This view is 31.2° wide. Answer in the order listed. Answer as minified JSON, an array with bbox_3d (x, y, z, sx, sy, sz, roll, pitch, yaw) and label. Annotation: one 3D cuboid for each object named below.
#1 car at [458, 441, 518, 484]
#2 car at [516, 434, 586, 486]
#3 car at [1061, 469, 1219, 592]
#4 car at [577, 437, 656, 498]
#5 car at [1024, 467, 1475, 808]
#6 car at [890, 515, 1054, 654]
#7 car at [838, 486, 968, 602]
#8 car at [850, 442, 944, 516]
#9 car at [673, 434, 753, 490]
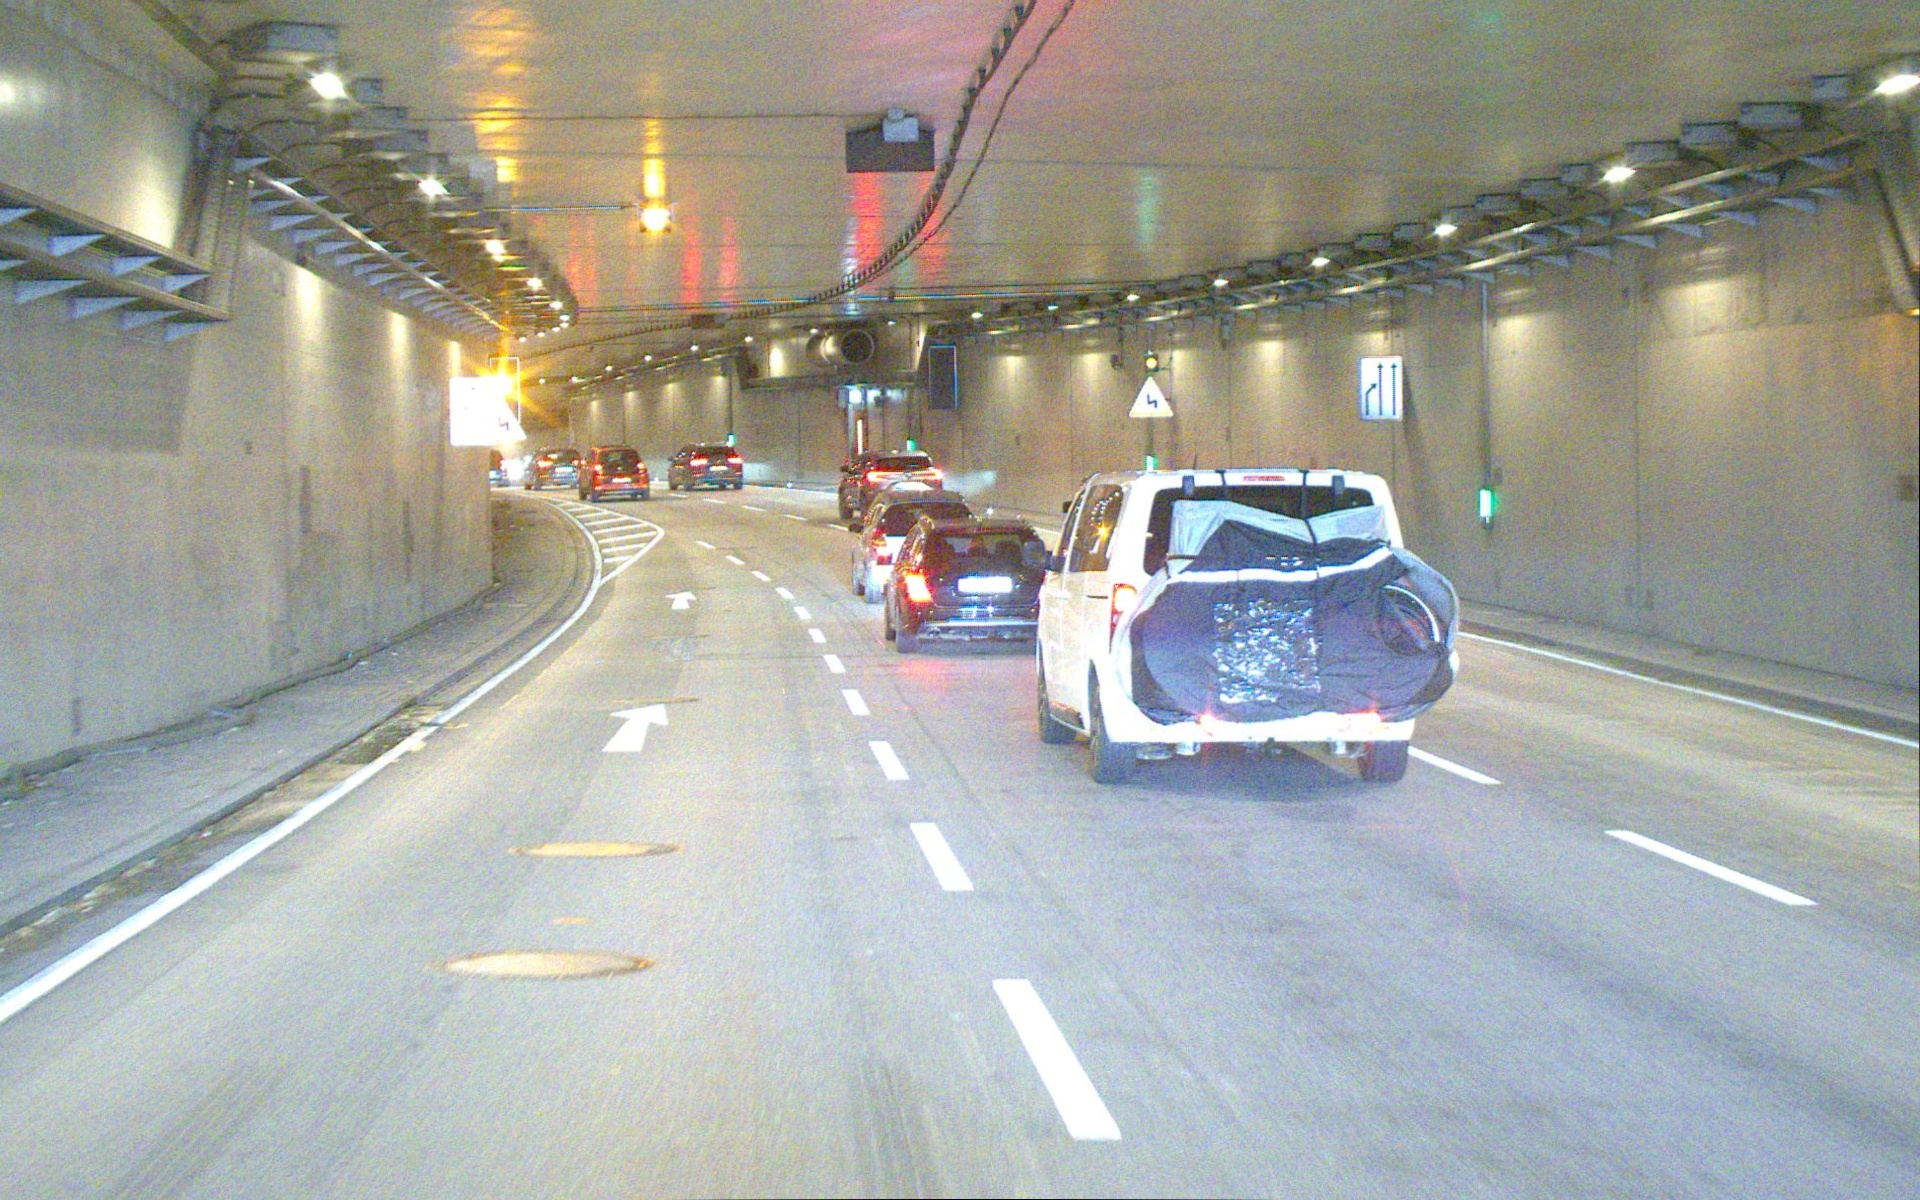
[{"bbox_3d":[-18.595,-5.410,135.334,1.822,1.624,3.845,0,1,-16],"label":"car"},{"bbox_3d":[-13.545,-4.632,113.831,1.822,1.624,3.845,0,1,-14],"label":"car"},{"bbox_3d":[2.647,-1.031,51.393,1.872,1.755,4.001,0,1,-4],"label":"car"},{"bbox_3d":[-9.712,-3.724,96.995,1.822,1.624,3.845,0,1,-11],"label":"car"},{"bbox_3d":[1.620,0.127,21.267,1.993,1.841,5.302,0,2,-4],"label":"car"},{"bbox_3d":[0.090,-0.197,36.598,1.602,1.390,3.278,0,2,-2],"label":"car"},{"bbox_3d":[-0.852,-0.828,49.385,1.602,1.588,3.357,0,2,-6],"label":"car"},{"bbox_3d":[-1.449,-2.722,77.896,1.602,1.624,3.357,0,1,-10],"label":"car"},{"bbox_3d":[-7.515,-4.176,104.292,1.822,1.624,3.845,0,1,-13],"label":"car"}]
